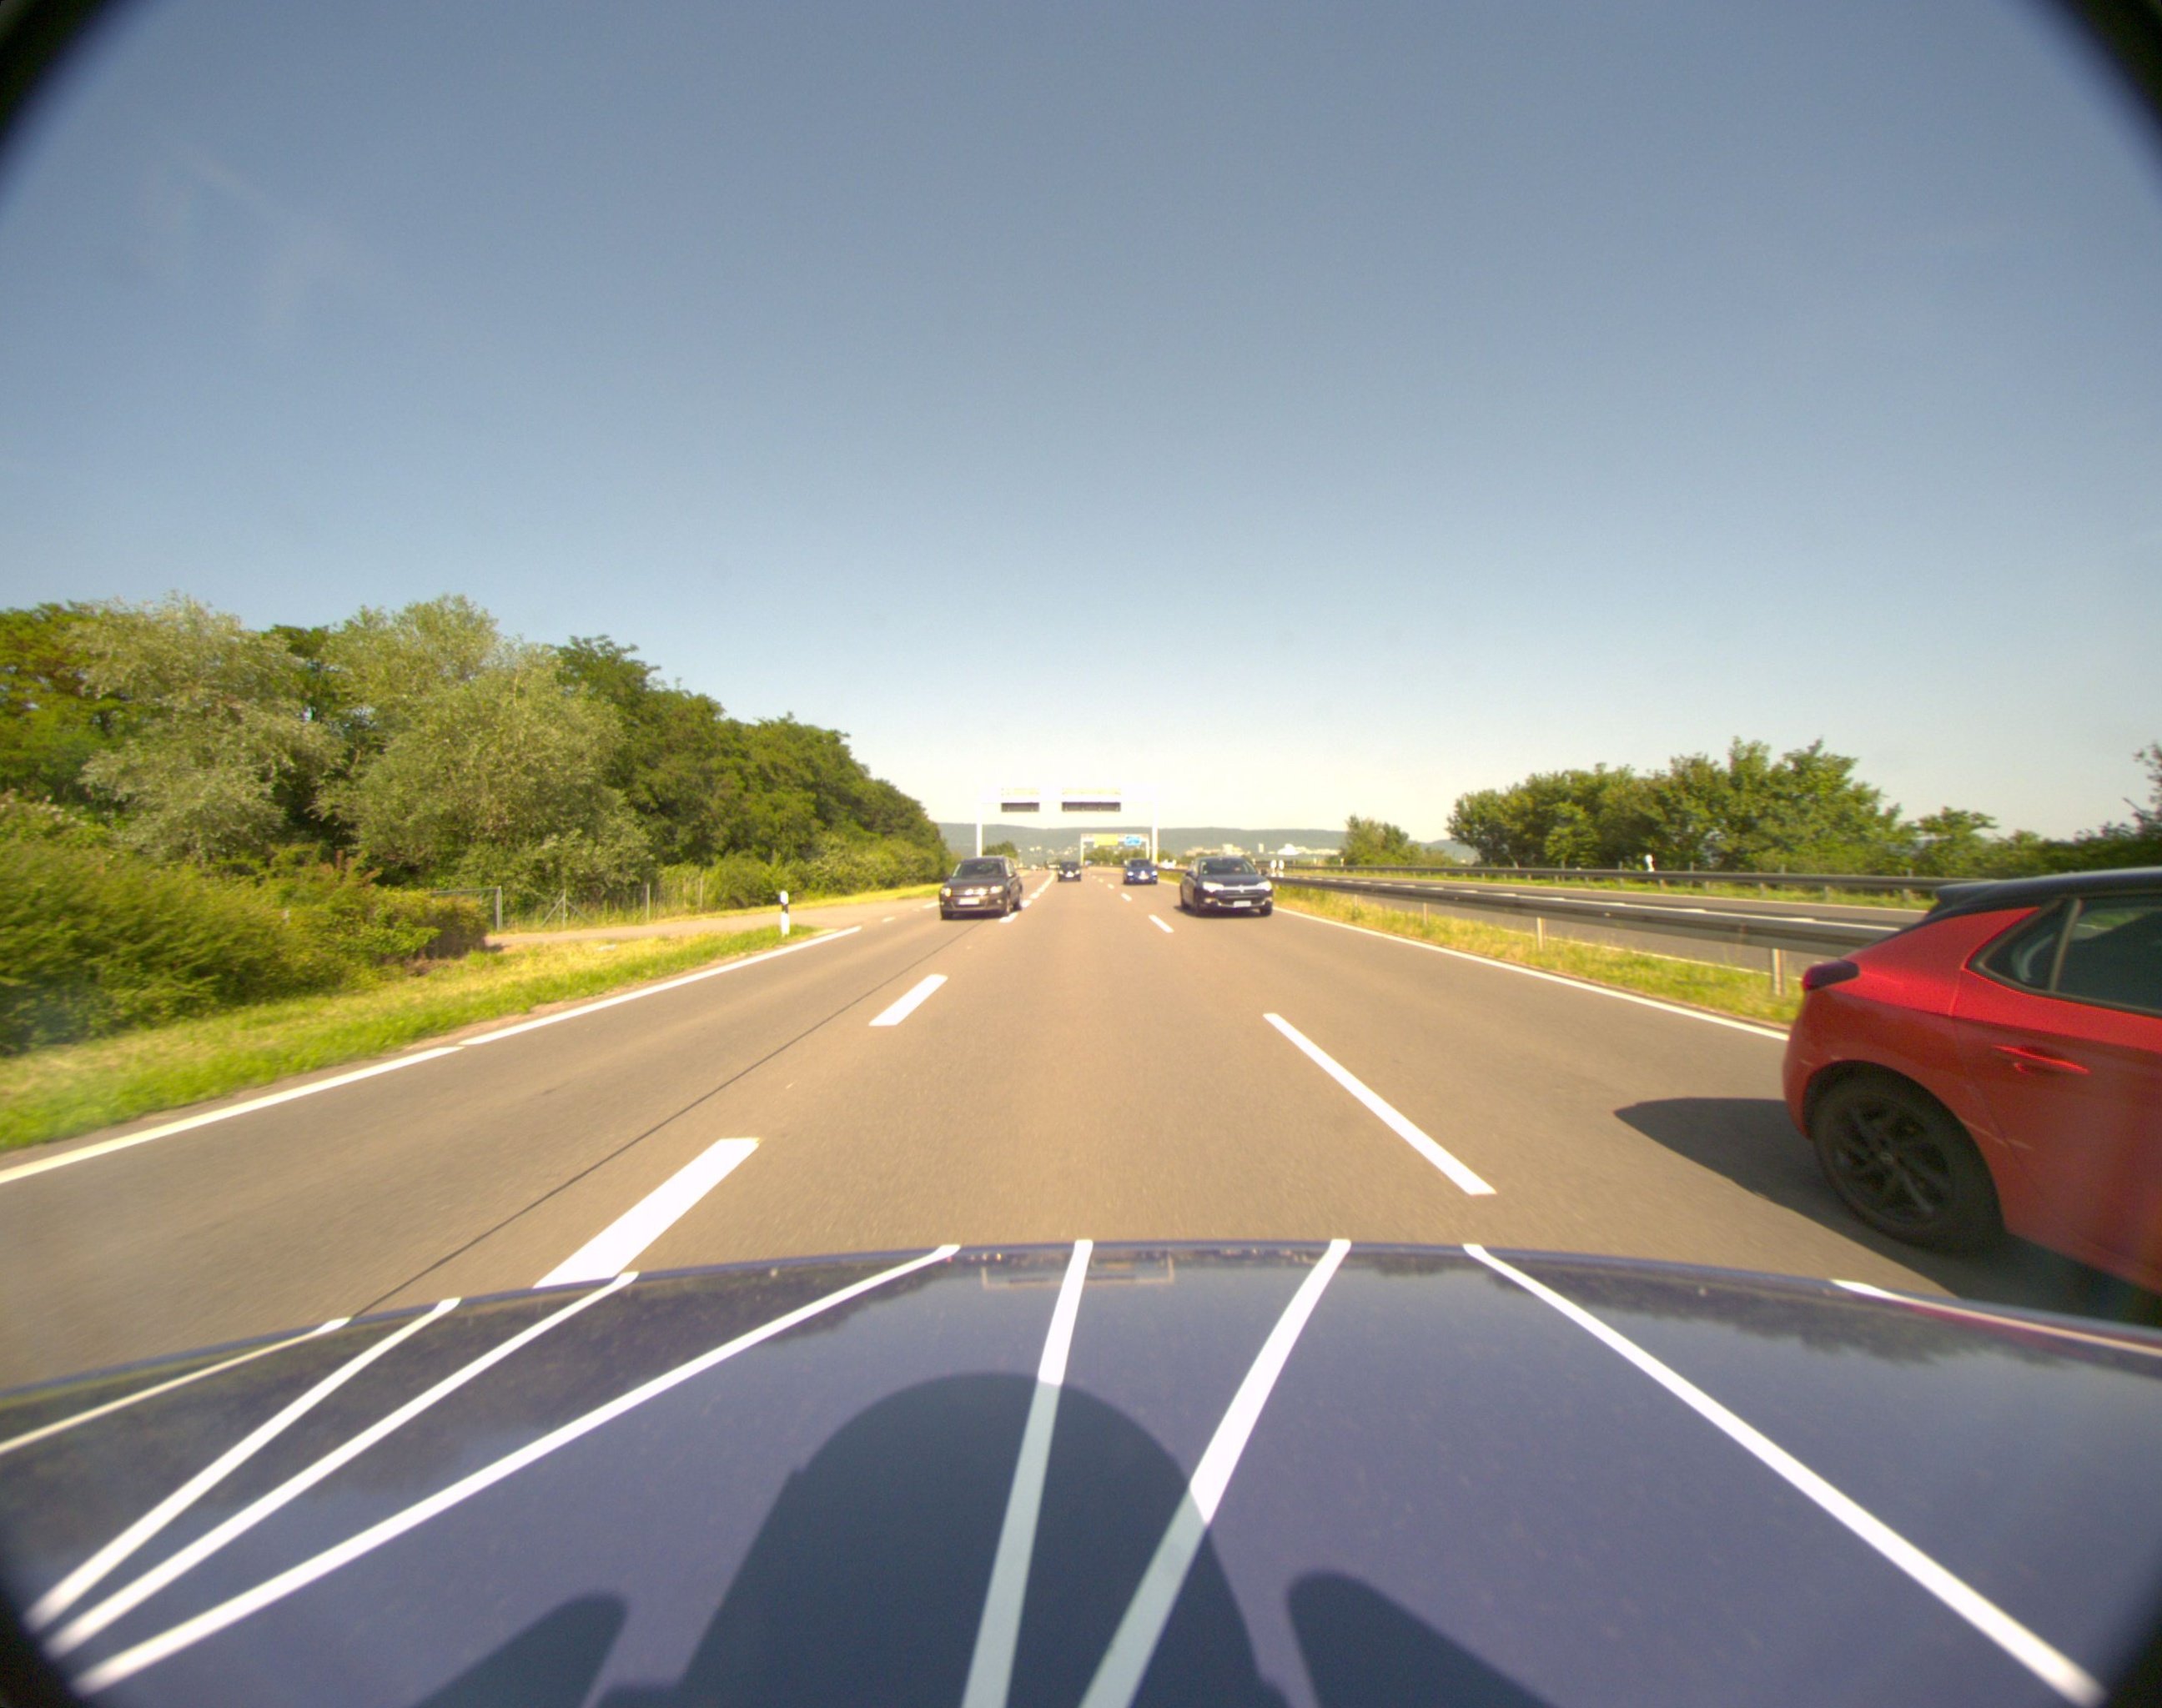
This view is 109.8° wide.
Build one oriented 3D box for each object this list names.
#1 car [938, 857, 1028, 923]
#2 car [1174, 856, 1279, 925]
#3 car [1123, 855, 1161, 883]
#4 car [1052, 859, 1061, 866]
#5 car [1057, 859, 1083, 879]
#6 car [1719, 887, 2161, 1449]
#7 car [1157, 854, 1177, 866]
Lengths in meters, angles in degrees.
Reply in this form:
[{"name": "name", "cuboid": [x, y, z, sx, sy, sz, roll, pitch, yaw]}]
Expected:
[{"name": "car", "cuboid": [-2.659, 0.941, 21.466, 1.789, 1.637, 4.149, -2, -1, 2]}, {"name": "car", "cuboid": [3.612, 0.874, 19.602, 1.788, 1.524, 4.375, -2, -1, -1]}, {"name": "car", "cuboid": [3.352, 0.807, 42.262, 1.652, 1.403, 3.775, -2, 0, -2]}, {"name": "car", "cuboid": [-5.138, 1.824, 160.790, 1.677, 1.521, 4.000, -2, -1, -1]}, {"name": "car", "cuboid": [-0.787, 1.030, 53.167, 1.601, 1.241, 3.999, -2, -1, -4]}, {"name": "car", "cuboid": [3.773, 0.883, 1.270, 1.713, 1.428, 4.412, -1, 0, 0]}, {"name": "car", "cuboid": [12.035, 0.805, 106.408, 1.907, 1.611, 4.627, -2, 0, -5]}]
